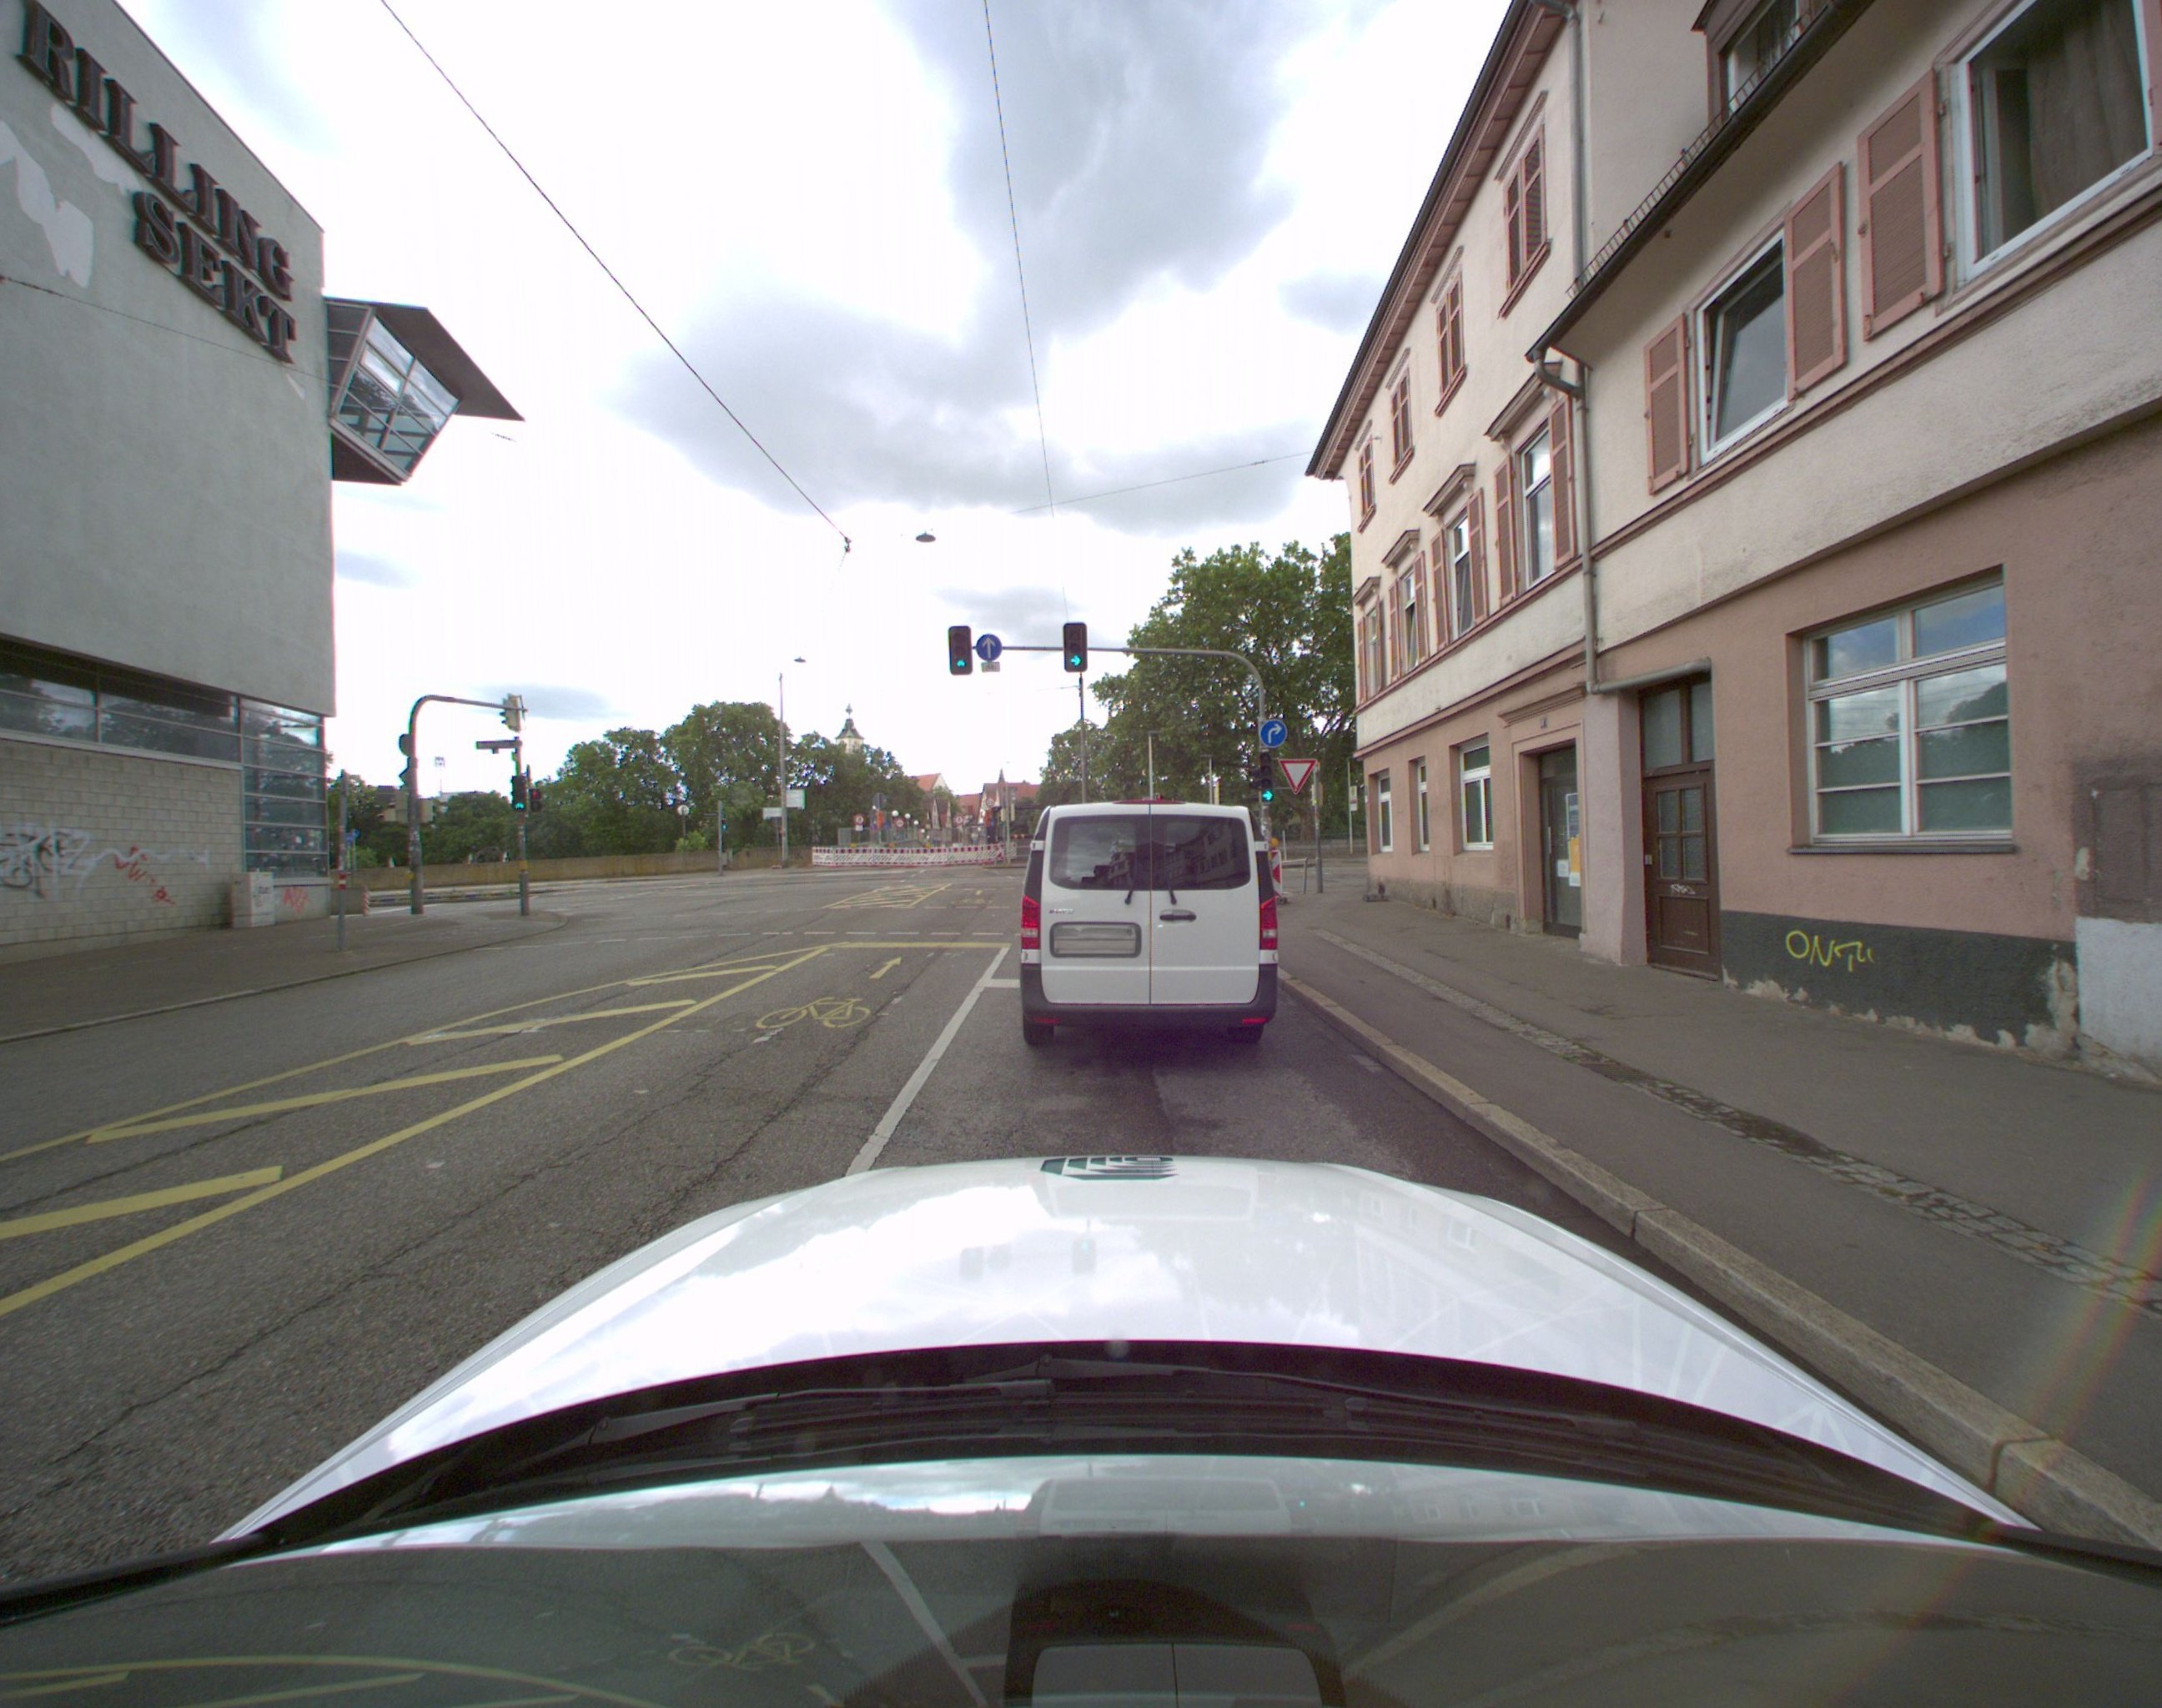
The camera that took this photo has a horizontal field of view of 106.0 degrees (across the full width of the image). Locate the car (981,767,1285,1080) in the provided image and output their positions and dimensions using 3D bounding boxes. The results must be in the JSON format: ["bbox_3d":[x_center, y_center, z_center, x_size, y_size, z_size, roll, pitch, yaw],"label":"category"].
[{"bbox_3d":[0.412,0.398,7.597,1.943,2.013,4.700,0,1,2],"label":"car"}]
